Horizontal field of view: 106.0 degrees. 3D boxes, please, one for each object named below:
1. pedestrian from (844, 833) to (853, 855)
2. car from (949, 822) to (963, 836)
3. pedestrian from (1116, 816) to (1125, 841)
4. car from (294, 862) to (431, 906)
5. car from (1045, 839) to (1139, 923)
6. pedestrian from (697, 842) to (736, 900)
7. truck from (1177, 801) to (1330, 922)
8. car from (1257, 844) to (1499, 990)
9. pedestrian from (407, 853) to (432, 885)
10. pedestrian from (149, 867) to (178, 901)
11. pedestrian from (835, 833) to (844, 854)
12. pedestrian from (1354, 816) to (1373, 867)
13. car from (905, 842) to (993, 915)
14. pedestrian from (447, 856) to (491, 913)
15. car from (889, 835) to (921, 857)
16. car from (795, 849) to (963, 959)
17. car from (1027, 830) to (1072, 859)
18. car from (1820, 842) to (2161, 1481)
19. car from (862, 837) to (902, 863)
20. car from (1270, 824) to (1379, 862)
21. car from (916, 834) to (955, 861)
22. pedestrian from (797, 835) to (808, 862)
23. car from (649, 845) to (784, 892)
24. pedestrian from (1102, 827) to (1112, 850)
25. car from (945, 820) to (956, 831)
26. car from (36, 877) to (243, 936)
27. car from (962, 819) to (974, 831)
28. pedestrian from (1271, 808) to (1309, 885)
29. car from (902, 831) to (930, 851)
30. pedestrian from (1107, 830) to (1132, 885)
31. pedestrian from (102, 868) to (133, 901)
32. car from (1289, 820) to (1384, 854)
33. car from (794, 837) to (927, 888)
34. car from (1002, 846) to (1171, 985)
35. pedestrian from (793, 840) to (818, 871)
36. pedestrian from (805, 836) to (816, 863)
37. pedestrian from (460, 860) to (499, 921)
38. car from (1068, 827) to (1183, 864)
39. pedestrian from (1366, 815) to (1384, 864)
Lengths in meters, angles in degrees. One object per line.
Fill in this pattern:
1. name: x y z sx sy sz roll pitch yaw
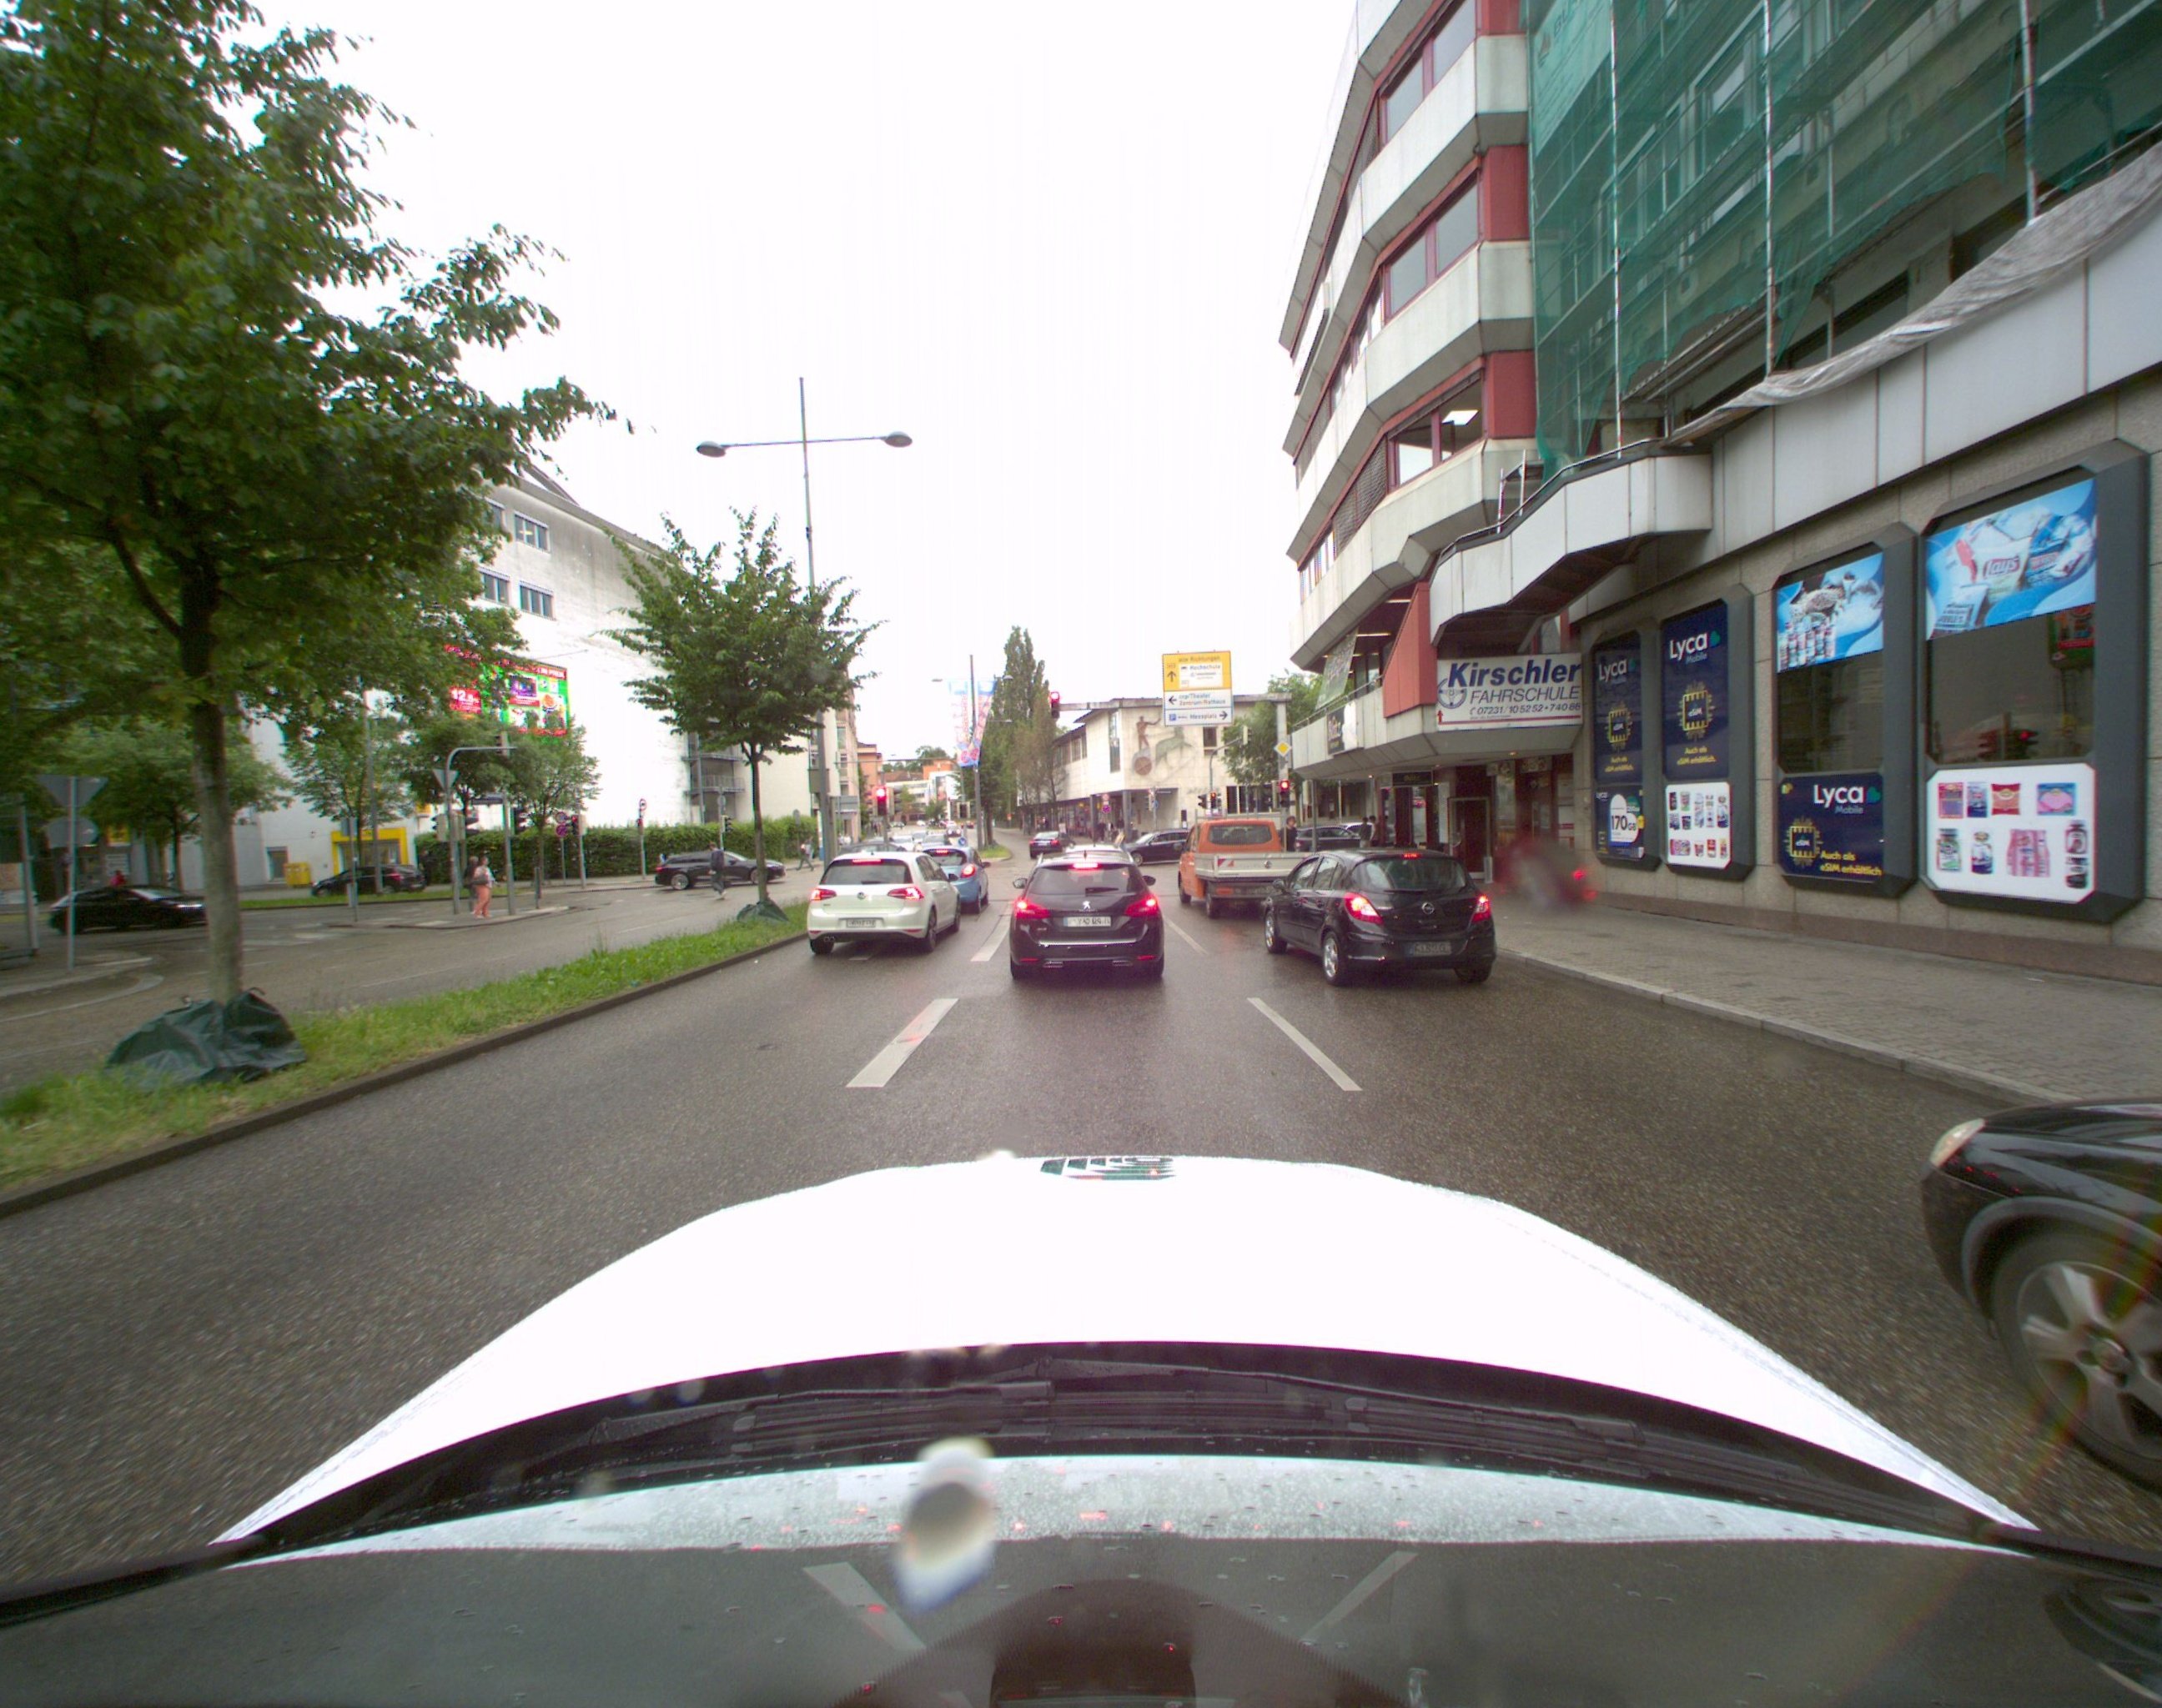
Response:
1. pedestrian: -18.956 -0.797 66.292 0.595 1.728 0.655 0 -1 -7
2. car: -16.047 -3.159 104.658 1.744 1.640 3.988 0 -1 -9
3. pedestrian: 3.085 -2.013 63.530 0.633 1.897 0.735 -1 -1 8
4. car: -31.377 1.293 35.675 4.052 1.454 1.787 -4 3 -10
5. car: 0.253 0.462 16.713 1.690 1.486 3.795 -1 1 1
6. pedestrian: -11.419 0.517 25.561 0.921 1.783 0.708 0 -1 -4
7. truck: 3.426 0.063 17.262 2.170 2.172 5.020 -1 1 0
8. car: 3.386 0.606 10.058 1.611 1.429 3.842 -1 1 0
9. pedestrian: -33.986 0.757 41.843 0.730 1.643 0.638 0 -1 -6
10. pedestrian: -45.714 1.497 40.580 0.727 1.643 0.640 -1 -1 7
11. pedestrian: -19.535 -0.856 65.876 0.595 1.728 0.655 0 -1 -7
12. pedestrian: 9.565 -0.423 27.577 0.424 1.682 0.450 -3 -1 0
13. car: -2.979 0.494 19.051 1.629 1.486 3.606 -1 1 -3
14. pedestrian: -18.641 0.932 24.807 0.750 1.661 0.628 -2 2 1
15. car: -12.090 -0.587 56.143 1.630 1.486 3.604 -1 1 -4
16. car: -3.021 0.667 12.988 1.773 1.429 3.840 -1 1 -1
17. car: -1.689 -0.497 45.558 1.715 1.490 4.742 -1 -1 7
18. car: 3.187 0.709 0.897 1.600 1.429 3.626 -1 1 3
19. car: -11.863 -0.287 48.762 1.570 1.486 3.608 -1 1 -1
20. car: 9.896 -0.443 33.177 3.993 1.486 1.615 0 -1 -15
21. car: -8.817 -0.367 49.556 1.739 1.579 3.997 -1 -1 -1
22. pedestrian: -17.713 -0.348 51.771 0.538 1.748 0.745 0 -1 -7
23. car: -14.410 0.537 32.442 4.494 1.454 1.787 -4 3 -11
24. pedestrian: 2.025 -1.207 63.037 0.633 1.758 0.735 -1 -1 8
25. car: -23.751 -5.144 148.191 1.709 1.882 3.979 0 -1 -15
26. car: -30.464 1.662 26.484 4.227 1.565 1.699 -3 1 -9
27. car: -20.649 -5.281 148.953 1.709 1.936 3.979 0 -1 -15
28. pedestrian: 5.143 -0.181 20.075 0.736 1.816 0.776 -6 -1 13
29. car: -12.647 -1.018 62.695 1.630 1.486 3.604 -1 1 -4
30. pedestrian: 1.198 0.116 25.373 0.745 1.680 0.710 -1 -1 4
31. pedestrian: -48.458 1.529 40.959 0.633 1.643 0.735 -1 -1 8
32. car: 11.745 -0.758 37.495 3.896 1.486 1.617 0 -1 -11
33. car: -7.974 0.281 29.891 4.494 1.454 1.787 -4 3 -11
34. car: 0.058 0.629 10.537 1.772 1.429 3.841 -1 1 0
35. pedestrian: -14.255 0.088 42.106 1.059 1.578 0.683 0 -1 -3
36. pedestrian: -17.795 -0.288 53.564 0.538 1.748 0.564 0 -1 -3
37. pedestrian: -17.012 1.019 23.051 0.555 1.661 0.580 -2 2 1
38. car: 1.896 -0.375 35.143 4.725 1.486 1.632 -1 1 -12
39. pedestrian: 10.068 -0.485 27.898 0.395 1.640 0.504 -3 -1 2
